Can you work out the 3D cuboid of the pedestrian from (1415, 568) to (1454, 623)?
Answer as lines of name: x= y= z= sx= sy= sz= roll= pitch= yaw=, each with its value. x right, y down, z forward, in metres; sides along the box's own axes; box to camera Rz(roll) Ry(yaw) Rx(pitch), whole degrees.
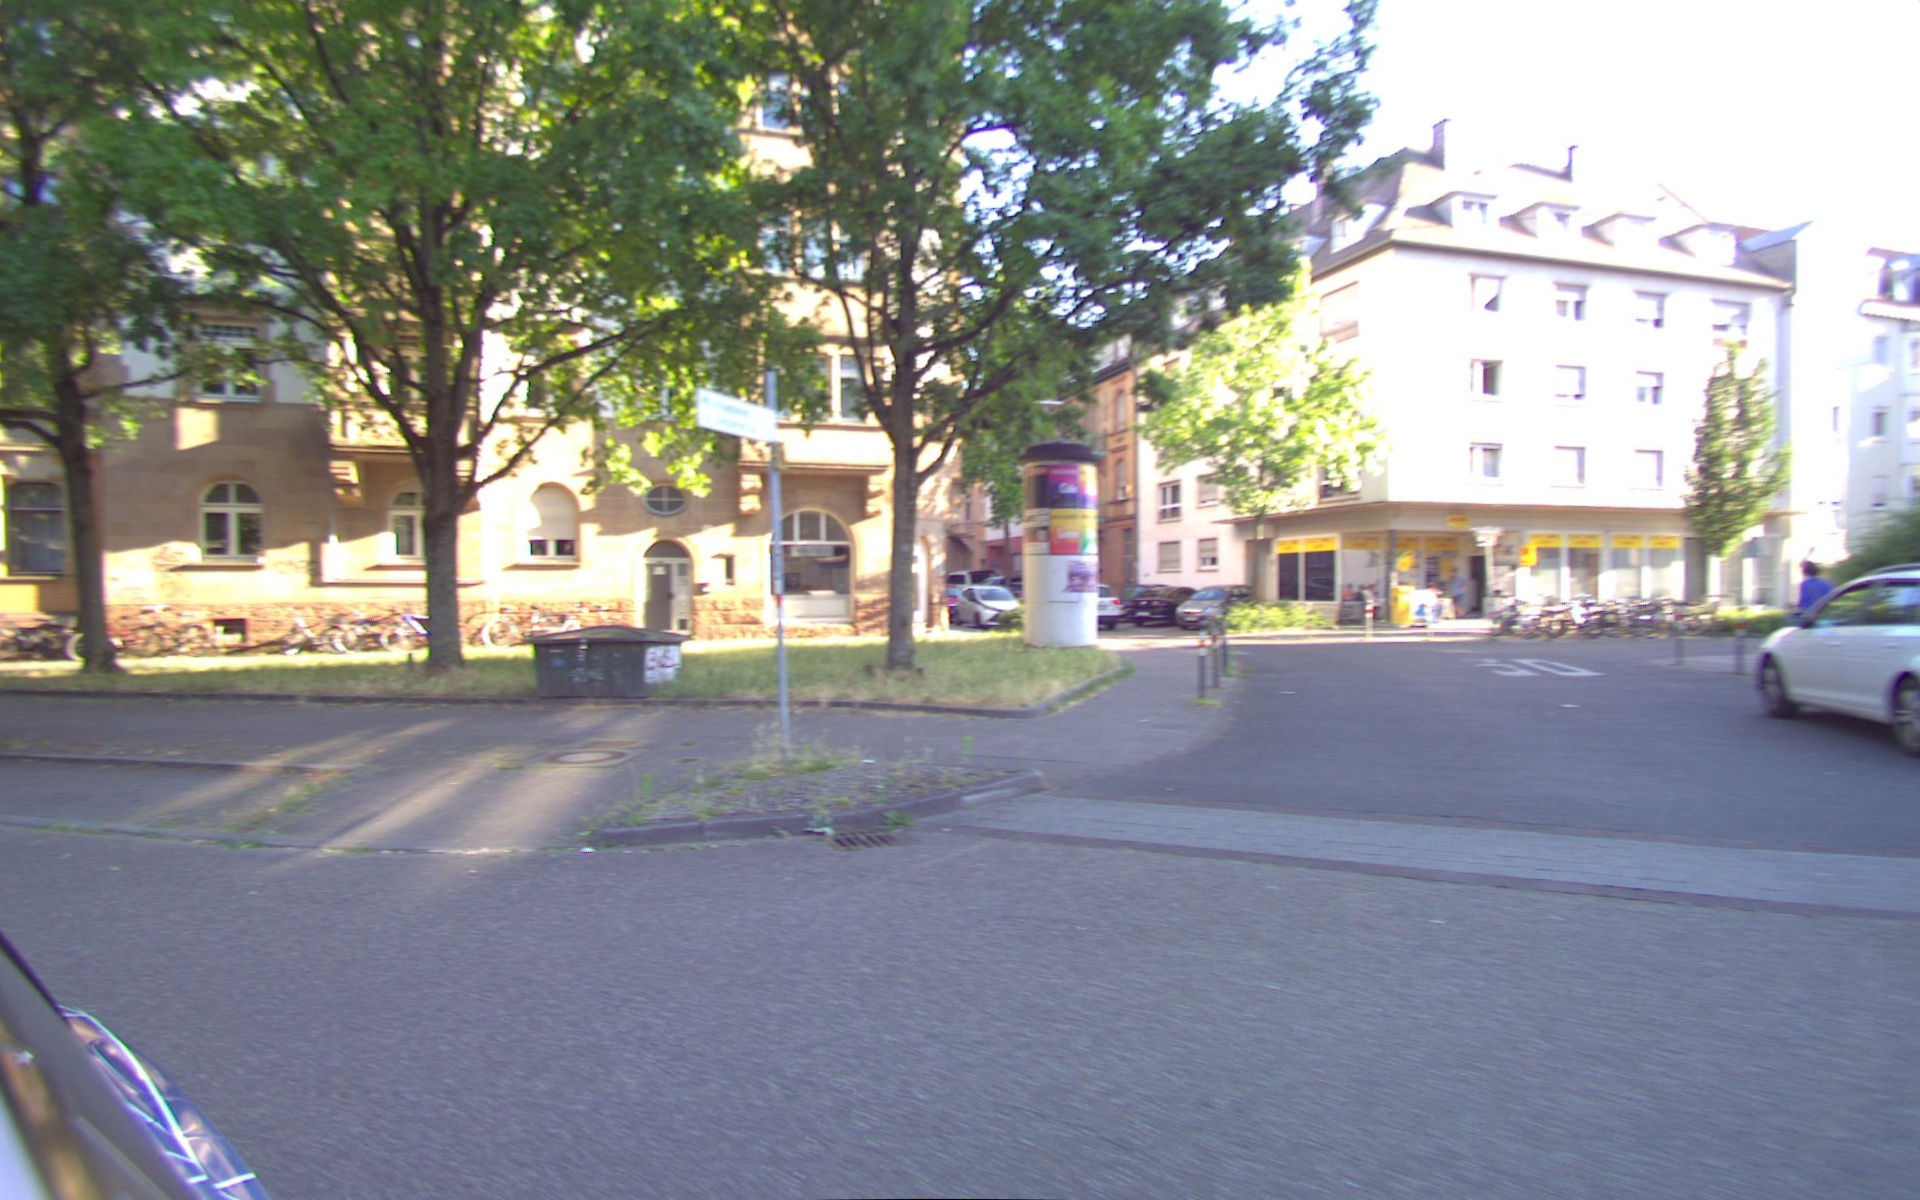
pedestrian: x=16.523 y=-0.168 z=35.244 sx=0.876 sy=1.889 sz=0.855 roll=-1 pitch=0 yaw=-17

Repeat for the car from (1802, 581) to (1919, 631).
car: x=30.799 y=0.186 z=33.675 sx=1.716 sy=1.570 sz=4.011 roll=-1 pitch=0 yaw=-14

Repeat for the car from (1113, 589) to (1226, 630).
car: x=7.725 y=0.316 z=37.221 sx=3.933 sy=1.410 sz=1.878 roll=-1 pitch=0 yaw=-34

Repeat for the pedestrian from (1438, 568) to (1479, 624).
pedestrian: x=16.916 y=-0.138 z=34.360 sx=0.876 sy=1.889 sz=0.855 roll=-1 pitch=0 yaw=-17

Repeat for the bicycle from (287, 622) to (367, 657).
bicycle: x=-14.306 y=0.885 z=22.906 sx=1.484 sy=0.737 sz=0.370 roll=-1 pitch=0 yaw=-19

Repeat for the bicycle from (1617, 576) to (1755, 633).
bicycle: x=20.551 y=0.078 z=28.810 sx=0.866 sy=1.456 sz=3.390 roll=-1 pitch=2 yaw=-14

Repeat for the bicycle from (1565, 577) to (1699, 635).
bicycle: x=18.754 y=0.113 z=28.388 sx=0.866 sy=1.456 sz=3.390 roll=-1 pitch=2 yaw=-14

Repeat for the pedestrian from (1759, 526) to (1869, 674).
pedestrian: x=12.205 y=-0.002 z=14.496 sx=0.855 sy=2.029 sz=0.980 roll=-1 pitch=0 yaw=16

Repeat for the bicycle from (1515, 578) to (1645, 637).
bicycle: x=17.019 y=0.167 z=27.934 sx=0.866 sy=1.456 sz=3.390 roll=-1 pitch=2 yaw=-14

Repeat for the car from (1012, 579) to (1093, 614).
car: x=4.551 y=-0.189 z=49.314 sx=1.874 sy=1.648 sz=3.943 roll=0 pitch=0 yaw=44

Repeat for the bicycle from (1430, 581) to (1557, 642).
bicycle: x=13.864 y=0.249 z=26.479 sx=0.866 sy=1.456 sz=3.389 roll=-1 pitch=1 yaw=-14

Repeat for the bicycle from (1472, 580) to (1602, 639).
bicycle: x=15.157 y=0.208 z=26.758 sx=0.866 sy=1.456 sz=3.389 roll=-1 pitch=1 yaw=-14

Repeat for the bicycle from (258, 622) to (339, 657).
bicycle: x=-15.063 y=0.893 z=23.064 sx=1.484 sy=0.737 sz=0.370 roll=-1 pitch=0 yaw=-19

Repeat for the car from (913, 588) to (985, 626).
car: x=-0.493 y=0.253 z=39.825 sx=1.842 sy=1.410 sz=4.012 roll=-1 pitch=0 yaw=-16

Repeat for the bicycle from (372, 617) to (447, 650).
bicycle: x=-12.918 y=0.786 z=23.771 sx=1.484 sy=0.737 sz=0.370 roll=-1 pitch=0 yaw=-19

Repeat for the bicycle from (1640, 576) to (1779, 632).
bicycle: x=21.442 y=0.064 z=29.103 sx=0.866 sy=1.456 sz=3.390 roll=-1 pitch=2 yaw=-14

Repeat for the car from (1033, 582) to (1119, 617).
car: x=5.331 y=-0.026 z=46.200 sx=1.874 sy=1.516 sz=3.943 roll=0 pitch=0 yaw=44

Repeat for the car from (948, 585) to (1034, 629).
car: x=1.006 y=0.220 z=35.121 sx=1.842 sy=1.410 sz=4.012 roll=-1 pitch=0 yaw=-16

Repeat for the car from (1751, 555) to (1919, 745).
car: x=8.571 y=0.352 z=8.341 sx=1.908 sy=1.461 sz=4.268 roll=-2 pitch=0 yaw=19

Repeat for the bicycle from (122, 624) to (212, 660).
bicycle: x=-17.279 y=0.902 z=22.070 sx=1.484 sy=0.737 sz=0.416 roll=-1 pitch=0 yaw=-19

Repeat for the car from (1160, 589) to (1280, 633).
car: x=9.048 y=0.359 z=35.117 sx=3.933 sy=1.410 sz=1.878 roll=-1 pitch=0 yaw=-34

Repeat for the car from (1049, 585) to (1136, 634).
car: x=4.727 y=0.320 z=36.805 sx=1.912 sy=1.659 sz=4.542 roll=-1 pitch=0 yaw=-8

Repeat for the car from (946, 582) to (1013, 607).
car: x=1.189 y=-0.345 z=60.198 sx=1.874 sy=1.410 sz=3.943 roll=0 pitch=0 yaw=44

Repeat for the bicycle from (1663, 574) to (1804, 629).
bicycle: x=22.353 y=0.004 z=29.381 sx=0.866 sy=1.456 sz=3.390 roll=-1 pitch=2 yaw=-14

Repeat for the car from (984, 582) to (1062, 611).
car: x=3.241 y=-0.210 z=51.416 sx=1.874 sy=1.410 sz=3.943 roll=0 pitch=0 yaw=44

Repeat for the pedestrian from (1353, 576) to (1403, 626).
pedestrian: x=14.243 y=0.031 z=34.510 sx=1.194 sy=1.679 sz=0.967 roll=-1 pitch=0 yaw=-16

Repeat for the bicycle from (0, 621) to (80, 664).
bicycle: x=-20.132 y=0.919 z=21.666 sx=1.866 sy=0.854 sz=0.527 roll=-2 pitch=0 yaw=-18

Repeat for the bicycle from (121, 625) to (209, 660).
bicycle: x=-17.593 y=0.934 z=22.415 sx=1.484 sy=0.737 sz=0.370 roll=-1 pitch=0 yaw=-19

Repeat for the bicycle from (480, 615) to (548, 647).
bicycle: x=-10.859 y=0.756 z=24.679 sx=1.484 sy=0.737 sz=0.370 roll=-1 pitch=0 yaw=-19

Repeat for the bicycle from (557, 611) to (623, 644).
bicycle: x=-9.173 y=0.681 z=25.113 sx=1.484 sy=0.737 sz=0.370 roll=-3 pitch=1 yaw=-19

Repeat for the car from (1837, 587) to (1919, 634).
car: x=32.626 y=0.344 z=34.382 sx=1.716 sy=1.570 sz=4.011 roll=-1 pitch=0 yaw=-14

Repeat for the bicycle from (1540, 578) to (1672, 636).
bicycle: x=17.919 y=0.141 z=28.214 sx=0.866 sy=1.456 sz=3.390 roll=-1 pitch=2 yaw=-14

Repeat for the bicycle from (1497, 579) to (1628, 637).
bicycle: x=16.128 y=0.176 z=27.256 sx=0.866 sy=1.456 sz=3.389 roll=-1 pitch=1 yaw=-14

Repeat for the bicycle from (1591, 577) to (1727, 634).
bicycle: x=19.640 y=0.112 z=28.587 sx=0.866 sy=1.456 sz=3.390 roll=-1 pitch=2 yaw=-14

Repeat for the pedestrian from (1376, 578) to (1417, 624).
pedestrian: x=15.256 y=0.026 z=35.354 sx=0.947 sy=1.581 sz=0.894 roll=-1 pitch=0 yaw=-16
